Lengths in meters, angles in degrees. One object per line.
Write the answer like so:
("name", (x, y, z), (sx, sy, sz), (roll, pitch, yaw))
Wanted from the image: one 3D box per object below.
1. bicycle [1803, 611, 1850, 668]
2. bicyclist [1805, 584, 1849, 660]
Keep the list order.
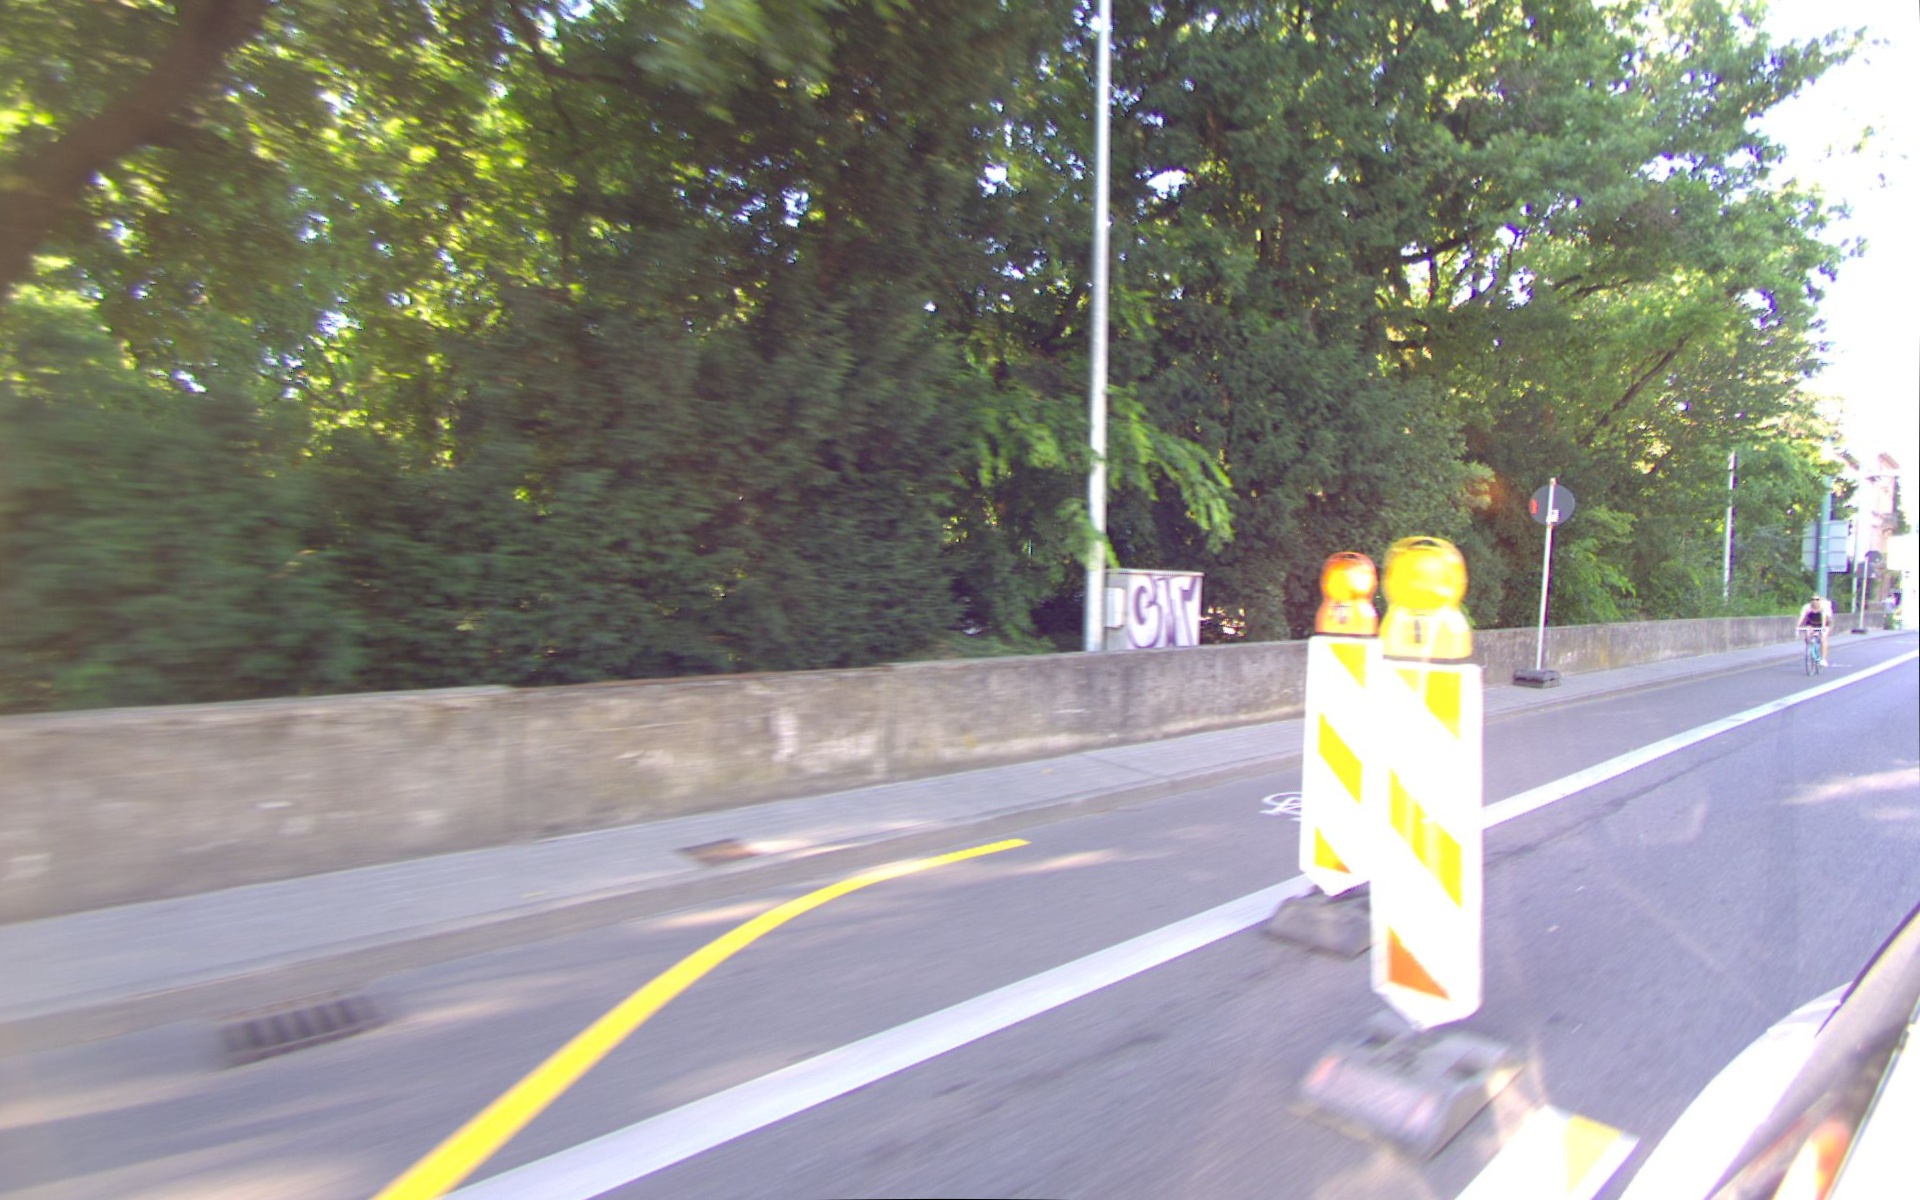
("bicycle", (16.929, 0.751, 19.764), (1.480, 1.037, 0.505), (0, 2, -42))
("bicyclist", (16.892, 0.413, 19.717), (0.791, 1.424, 0.516), (0, 2, -43))
